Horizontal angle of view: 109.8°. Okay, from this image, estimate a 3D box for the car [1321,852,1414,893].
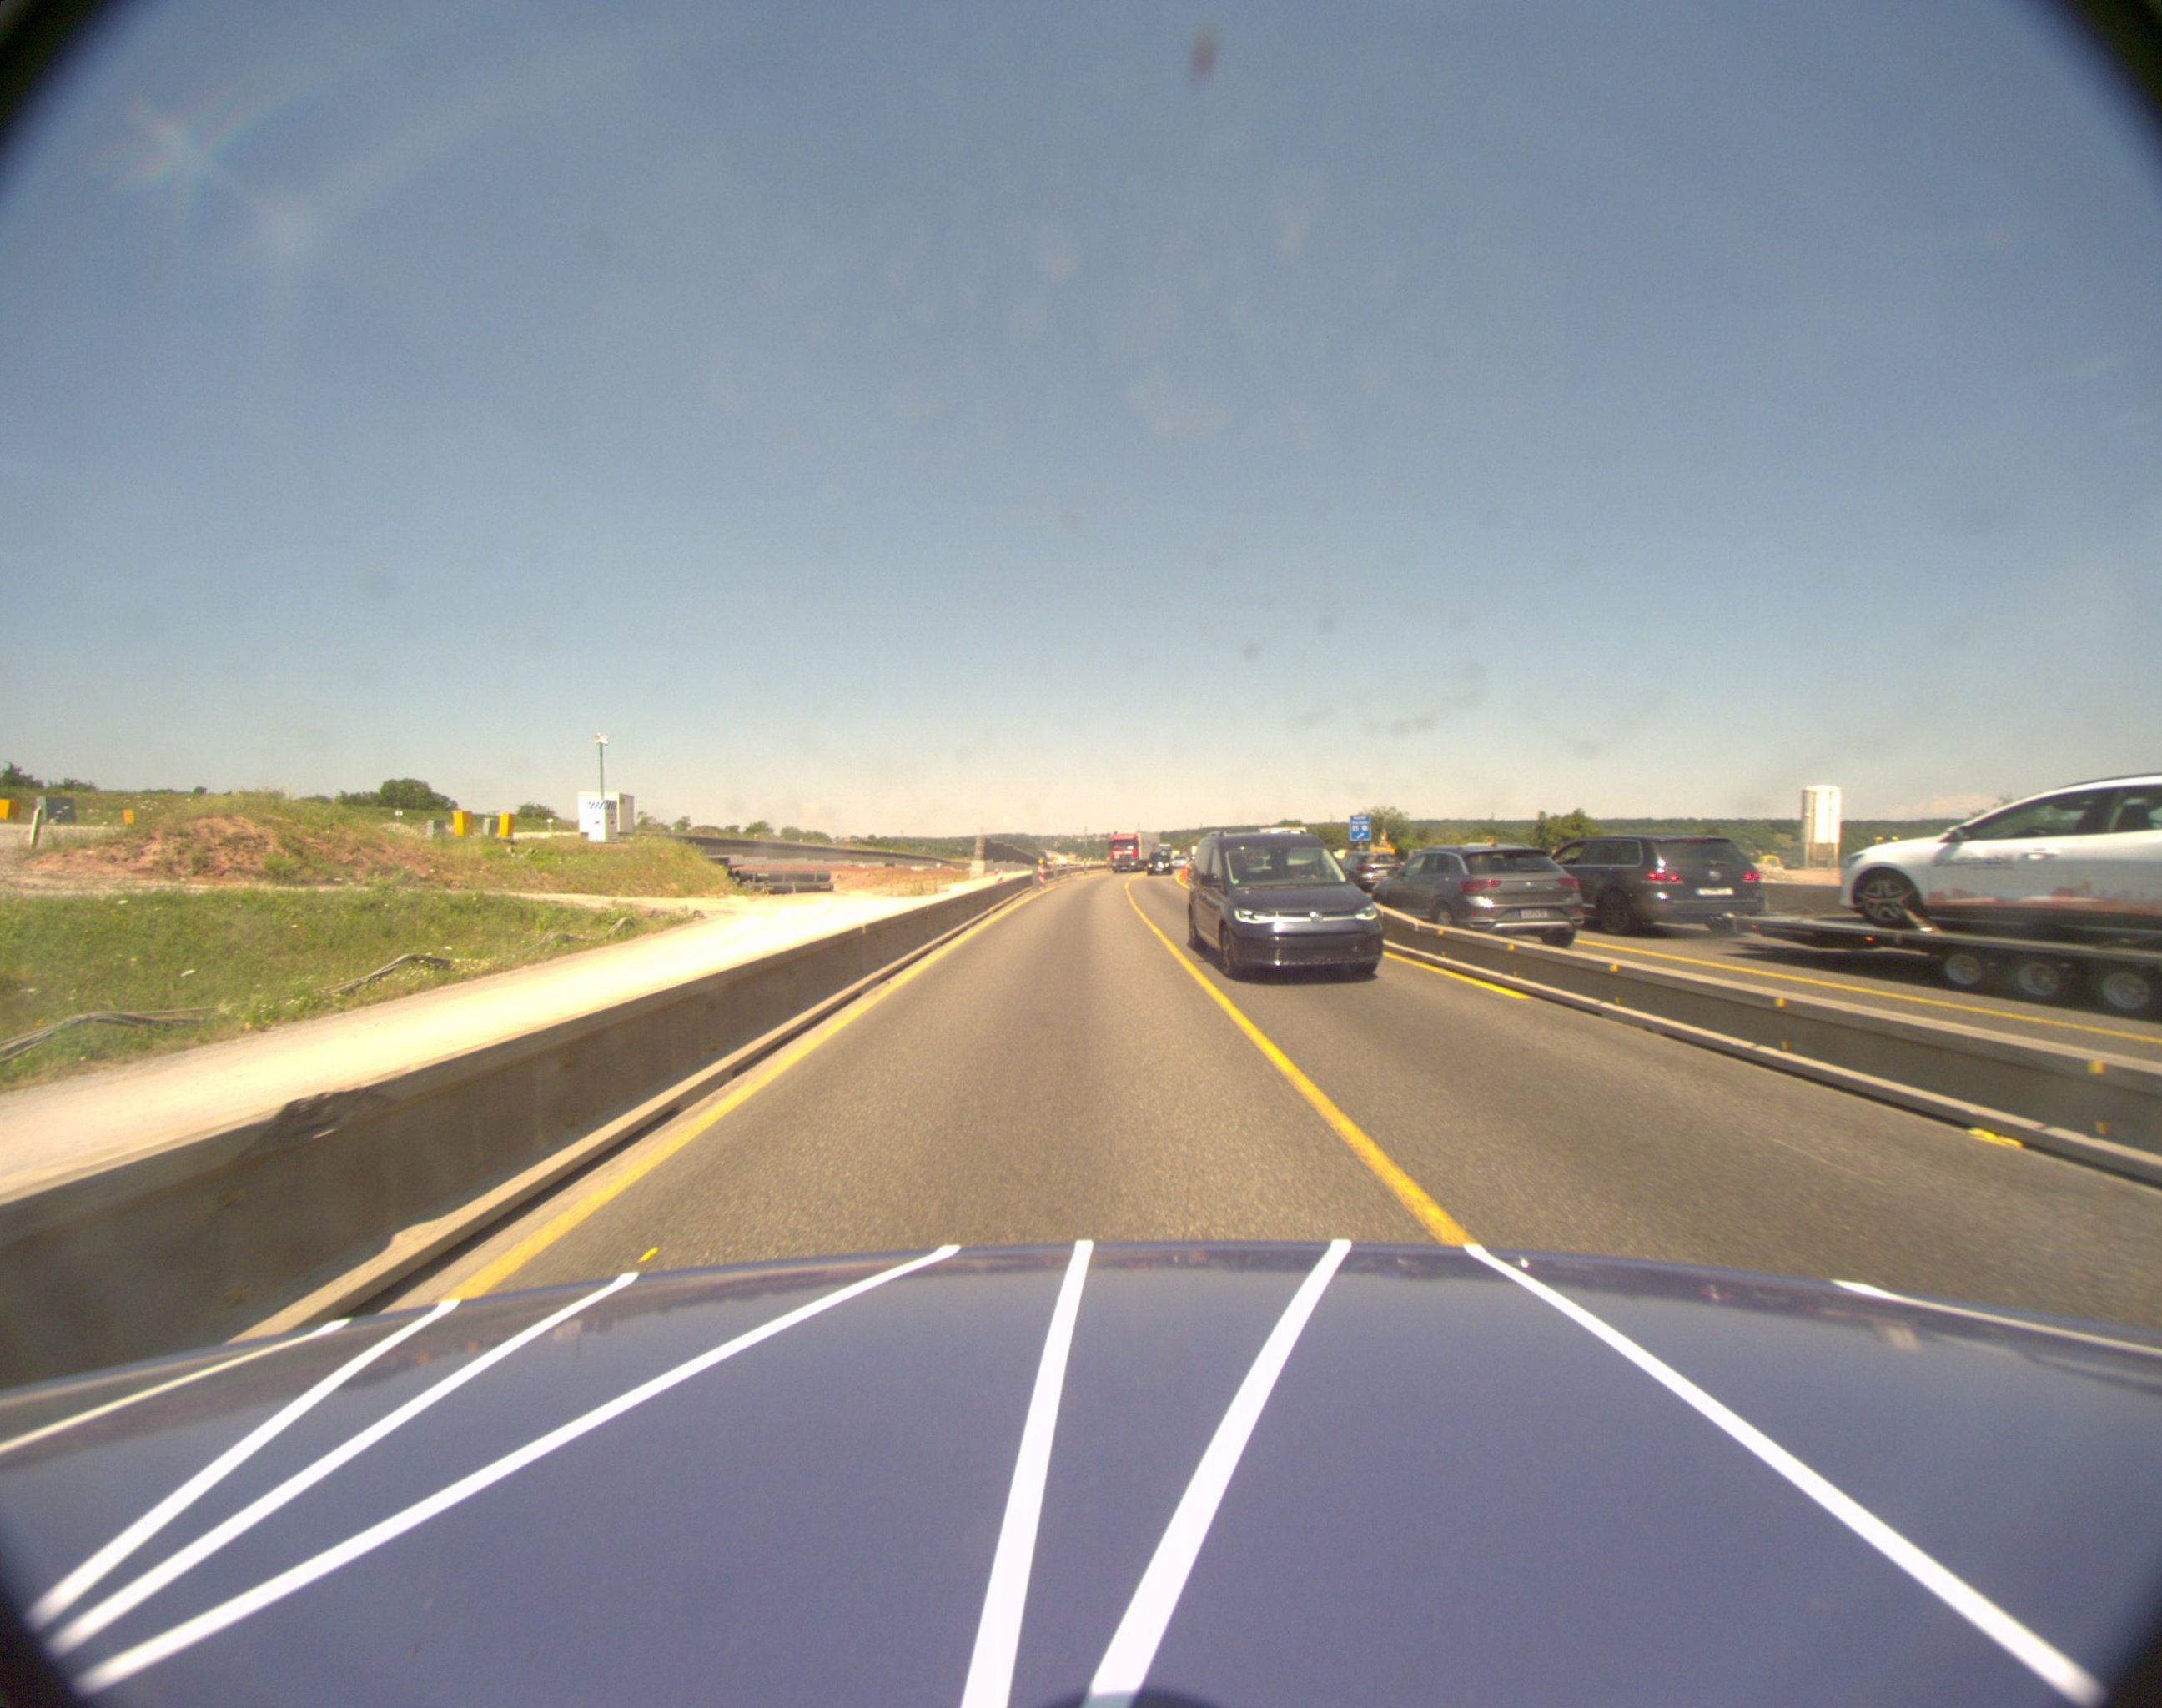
[{"bbox_3d":[10.596,0.631,28.493,1.826,1.415,4.647,-1,0,2],"label":"car"}]

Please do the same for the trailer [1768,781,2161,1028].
[{"bbox_3d":[9.700,0.422,6.933,2.136,1.970,5.235,1,0,0],"label":"trailer"}]

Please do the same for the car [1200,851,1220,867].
[{"bbox_3d":[12.104,0.444,71.461,1.812,1.406,4.401,-1,0,8],"label":"car"}]

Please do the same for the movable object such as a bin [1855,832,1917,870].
[{"bbox_3d":[67.394,-0.254,63.681,1.995,3.122,4.493,0,0,24],"label":"movable object such as a bin"}]

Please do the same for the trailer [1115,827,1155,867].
[{"bbox_3d":[5.872,-0.697,80.436,2.699,3.852,12.433,-1,0,11],"label":"trailer"}]

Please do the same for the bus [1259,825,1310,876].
[{"bbox_3d":[13.416,-0.228,50.633,2.354,3.107,7.232,-1,0,8],"label":"bus"}]

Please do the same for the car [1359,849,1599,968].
[{"bbox_3d":[6.081,0.721,12.232,1.698,1.570,4.133,-1,0,0],"label":"car"}]

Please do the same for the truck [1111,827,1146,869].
[{"bbox_3d":[4.654,-0.573,73.827,2.624,3.880,4.938,-1,0,12],"label":"truck"}]

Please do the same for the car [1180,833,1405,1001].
[{"bbox_3d":[2.599,0.678,10.574,1.925,1.779,4.603,-2,0,2],"label":"car"}]

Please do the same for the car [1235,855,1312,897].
[{"bbox_3d":[7.344,0.778,29.459,1.820,1.447,4.634,-1,0,1],"label":"car"}]

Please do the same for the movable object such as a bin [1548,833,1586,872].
[{"bbox_3d":[39.565,-0.122,61.889,1.995,3.122,4.284,0,0,24],"label":"movable object such as a bin"}]

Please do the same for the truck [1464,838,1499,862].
[{"bbox_3d":[52.893,-0.498,100.479,2.347,3.026,4.264,-1,0,-1],"label":"truck"}]

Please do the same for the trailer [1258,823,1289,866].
[{"bbox_3d":[20.501,-0.981,80.244,2.763,4.090,13.994,-1,0,16],"label":"trailer"}]

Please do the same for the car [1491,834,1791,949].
[{"bbox_3d":[9.630,0.558,13.695,1.928,1.669,4.717,-1,0,0],"label":"car"}]

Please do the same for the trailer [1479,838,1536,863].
[{"bbox_3d":[53.642,-0.453,95.652,5.578,2.979,2.883,-1,0,-1],"label":"trailer"}]

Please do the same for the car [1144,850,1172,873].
[{"bbox_3d":[6.153,0.558,61.129,1.799,1.776,3.999,-1,0,-1],"label":"car"}]

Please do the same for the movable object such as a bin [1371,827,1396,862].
[{"bbox_3d":[39.667,-1.177,99.486,2.926,4.304,9.341,-1,0,23],"label":"movable object such as a bin"}]

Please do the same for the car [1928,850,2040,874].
[{"bbox_3d":[56.477,0.463,47.651,1.616,1.401,4.445,-1,0,-2],"label":"car"}]
